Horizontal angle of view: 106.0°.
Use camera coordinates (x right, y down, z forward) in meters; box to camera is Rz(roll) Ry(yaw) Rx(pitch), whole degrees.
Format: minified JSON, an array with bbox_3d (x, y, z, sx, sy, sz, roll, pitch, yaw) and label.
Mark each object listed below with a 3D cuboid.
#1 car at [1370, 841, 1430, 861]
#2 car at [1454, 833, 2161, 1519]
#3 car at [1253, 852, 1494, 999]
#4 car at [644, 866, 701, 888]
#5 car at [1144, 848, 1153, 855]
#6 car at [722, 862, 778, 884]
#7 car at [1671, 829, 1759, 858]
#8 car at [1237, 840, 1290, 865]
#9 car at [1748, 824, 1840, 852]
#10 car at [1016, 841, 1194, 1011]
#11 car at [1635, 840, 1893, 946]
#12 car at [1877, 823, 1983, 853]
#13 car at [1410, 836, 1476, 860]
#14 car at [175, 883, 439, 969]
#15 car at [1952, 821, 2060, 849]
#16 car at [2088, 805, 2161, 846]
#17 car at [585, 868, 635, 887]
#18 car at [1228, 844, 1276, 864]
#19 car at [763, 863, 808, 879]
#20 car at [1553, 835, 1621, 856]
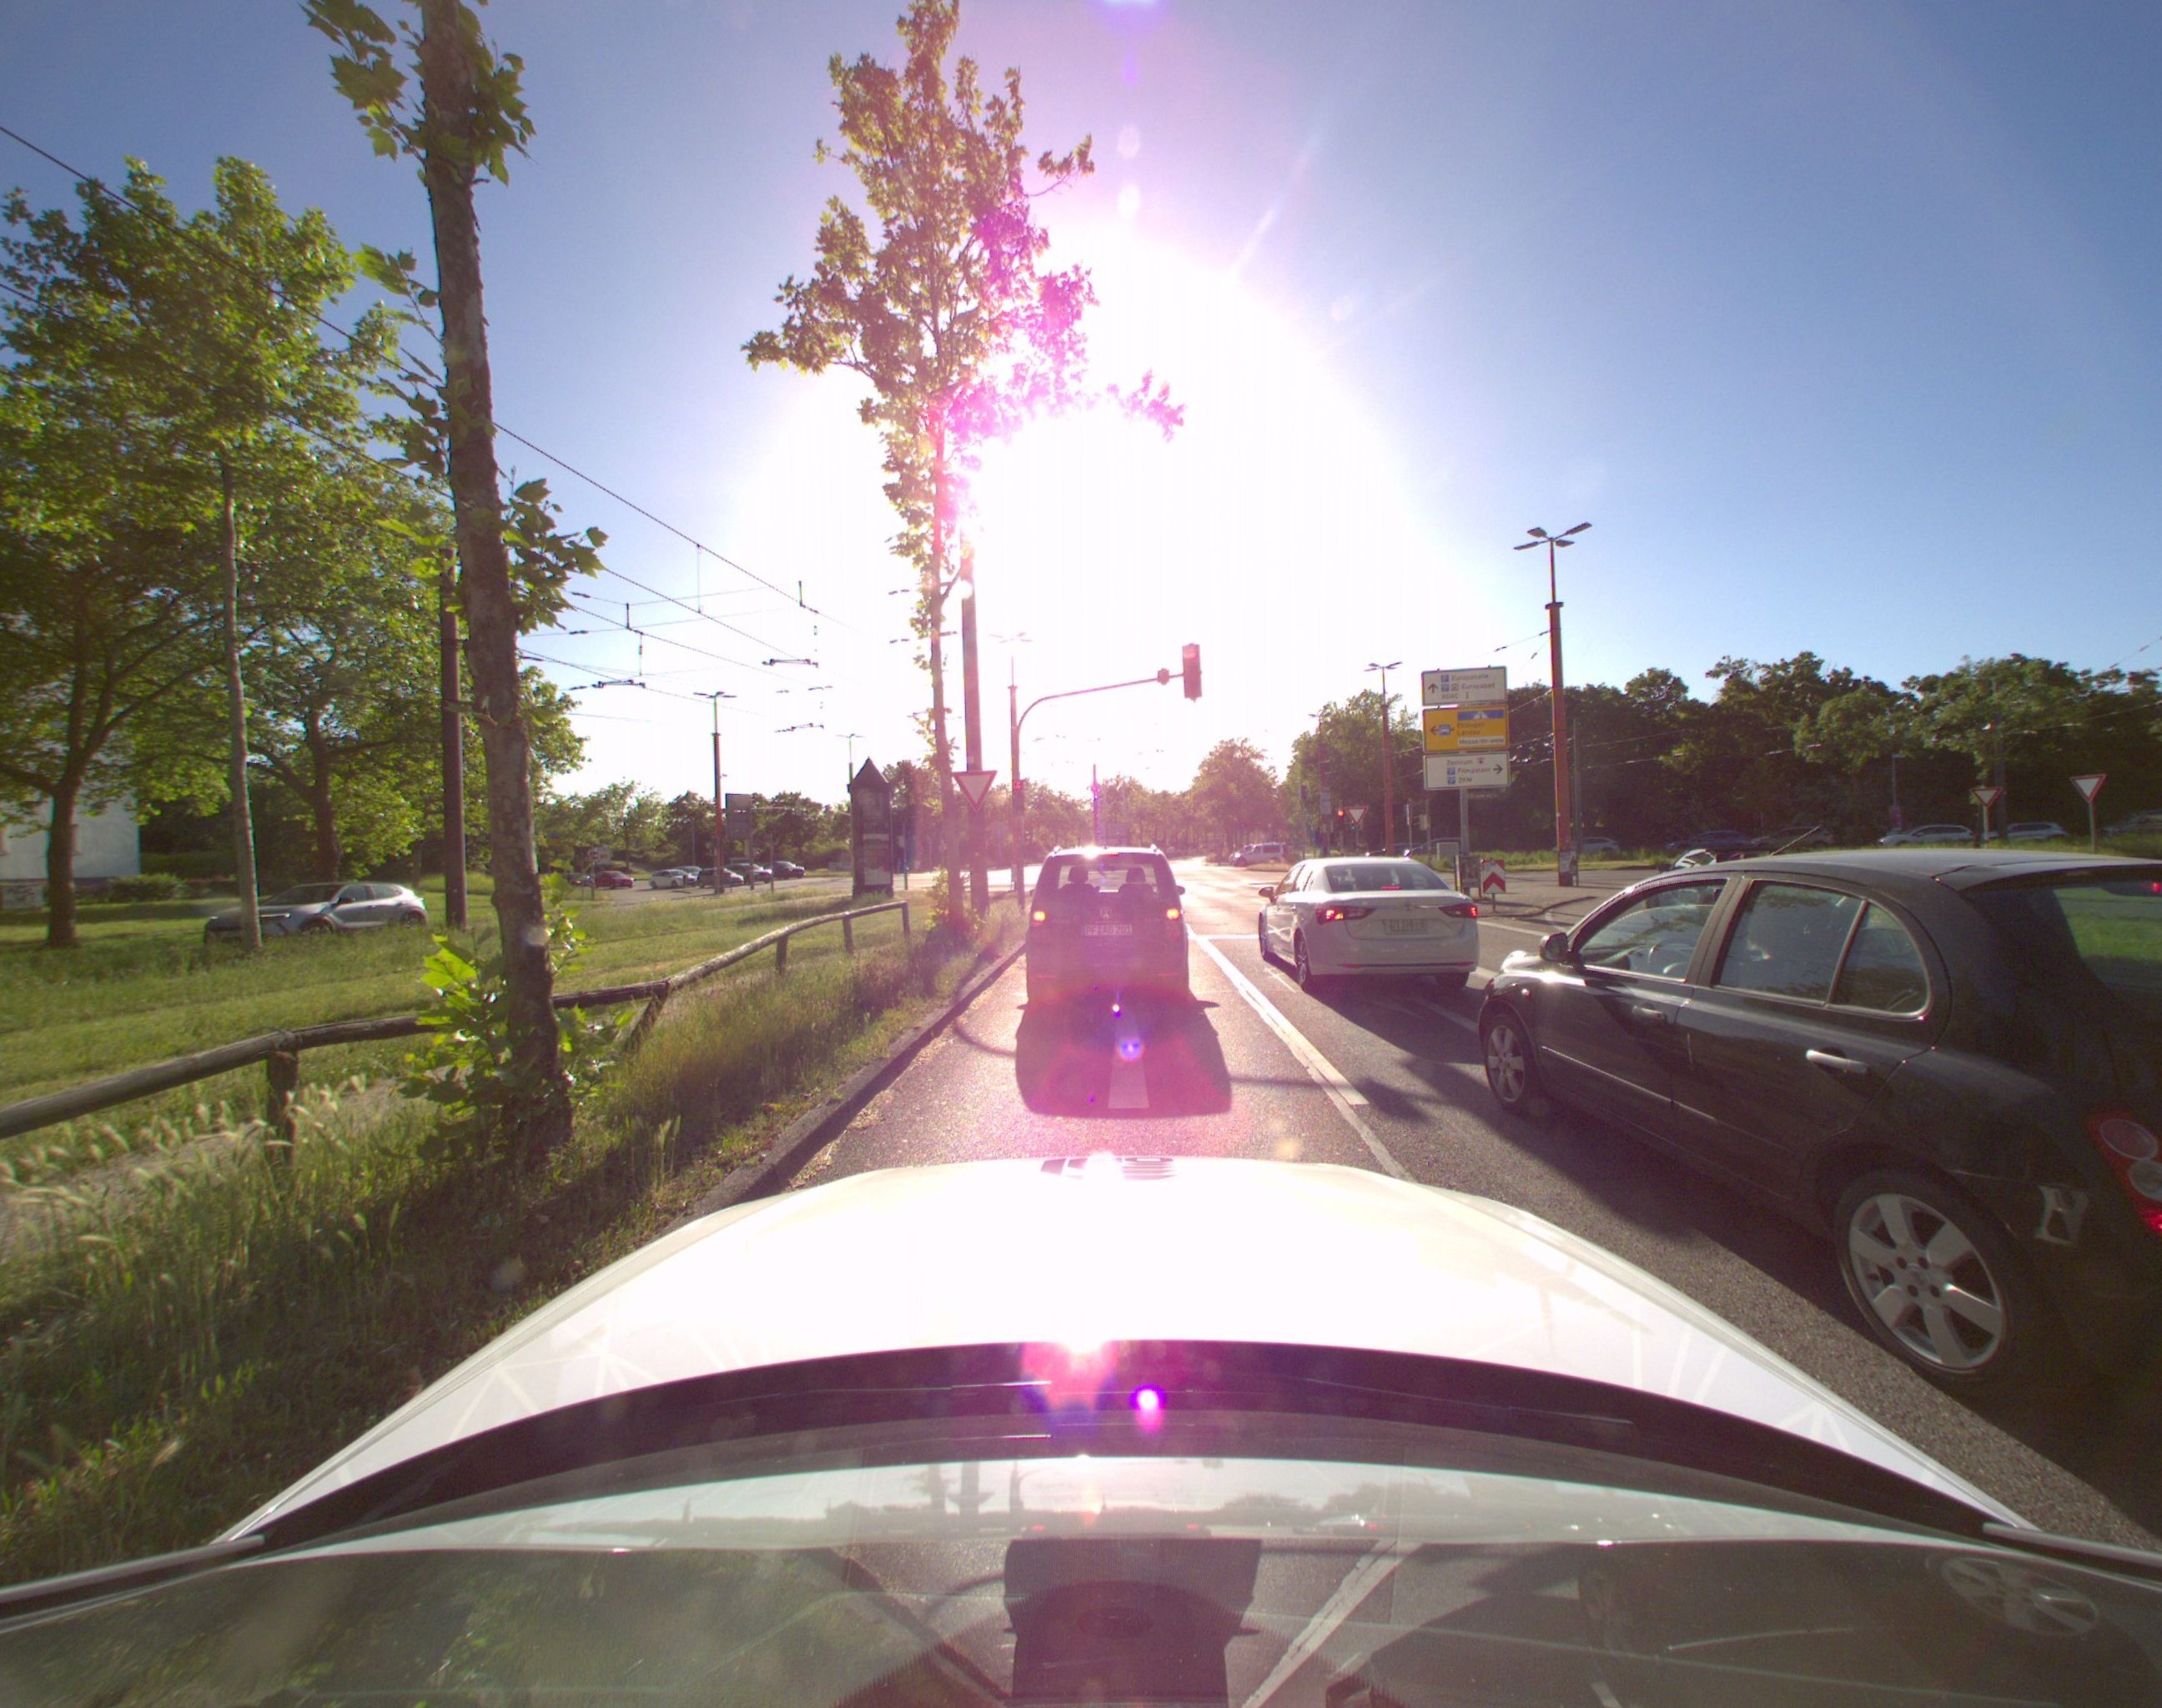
[{"bbox_3d":[24.461,-0.185,62.493,4.082,1.511,1.834,0,-1,28],"label":"car"},{"bbox_3d":[3.225,0.695,3.571,1.647,1.500,3.617,-1,0,2],"label":"car"},{"bbox_3d":[3.327,0.714,10.139,1.713,1.438,4.202,-1,0,3],"label":"car"},{"bbox_3d":[-32.421,1.820,64.606,4.135,1.612,1.880,-2,0,27],"label":"car"},{"bbox_3d":[16.027,-0.538,194.200,1.904,1.635,4.010,0,0,9],"label":"car"},{"bbox_3d":[-26.575,1.524,65.330,3.950,1.644,2.012,-2,0,26],"label":"car"},{"bbox_3d":[39.275,-0.637,50.571,4.080,1.598,1.840,-2,0,29],"label":"car"},{"bbox_3d":[14.368,-0.089,64.127,3.797,1.890,1.774,0,-1,25],"label":"car"},{"bbox_3d":[45.175,-0.982,51.733,4.080,1.644,1.864,-2,0,31],"label":"car"},{"bbox_3d":[0.288,0.711,9.930,1.694,1.621,3.898,-2,0,1],"label":"car"},{"bbox_3d":[10.942,0.547,13.475,1.720,1.450,4.150,-2,0,16],"label":"car"},{"bbox_3d":[47.722,-0.876,45.899,3.782,1.523,1.706,-2,0,31],"label":"car"},{"bbox_3d":[25.770,-0.381,57.977,4.139,1.644,1.770,0,-1,28],"label":"car"},{"bbox_3d":[-17.202,1.518,18.469,1.800,1.522,4.330,-2,0,0],"label":"car"},{"bbox_3d":[52.736,-1.057,46.516,3.700,1.473,1.610,-2,0,28],"label":"car"},{"bbox_3d":[55.414,-1.484,41.597,4.526,2.013,2.013,-2,0,33],"label":"car"},{"bbox_3d":[-39.445,2.000,68.251,3.949,1.513,1.743,-2,0,27],"label":"car"},{"bbox_3d":[14.312,0.018,68.026,3.608,1.655,1.690,0,-1,27],"label":"car"},{"bbox_3d":[-26.495,1.506,72.910,3.948,1.330,1.709,-2,0,33],"label":"car"},{"bbox_3d":[34.927,-0.557,56.316,3.926,1.441,1.697,0,-1,29],"label":"car"}]
